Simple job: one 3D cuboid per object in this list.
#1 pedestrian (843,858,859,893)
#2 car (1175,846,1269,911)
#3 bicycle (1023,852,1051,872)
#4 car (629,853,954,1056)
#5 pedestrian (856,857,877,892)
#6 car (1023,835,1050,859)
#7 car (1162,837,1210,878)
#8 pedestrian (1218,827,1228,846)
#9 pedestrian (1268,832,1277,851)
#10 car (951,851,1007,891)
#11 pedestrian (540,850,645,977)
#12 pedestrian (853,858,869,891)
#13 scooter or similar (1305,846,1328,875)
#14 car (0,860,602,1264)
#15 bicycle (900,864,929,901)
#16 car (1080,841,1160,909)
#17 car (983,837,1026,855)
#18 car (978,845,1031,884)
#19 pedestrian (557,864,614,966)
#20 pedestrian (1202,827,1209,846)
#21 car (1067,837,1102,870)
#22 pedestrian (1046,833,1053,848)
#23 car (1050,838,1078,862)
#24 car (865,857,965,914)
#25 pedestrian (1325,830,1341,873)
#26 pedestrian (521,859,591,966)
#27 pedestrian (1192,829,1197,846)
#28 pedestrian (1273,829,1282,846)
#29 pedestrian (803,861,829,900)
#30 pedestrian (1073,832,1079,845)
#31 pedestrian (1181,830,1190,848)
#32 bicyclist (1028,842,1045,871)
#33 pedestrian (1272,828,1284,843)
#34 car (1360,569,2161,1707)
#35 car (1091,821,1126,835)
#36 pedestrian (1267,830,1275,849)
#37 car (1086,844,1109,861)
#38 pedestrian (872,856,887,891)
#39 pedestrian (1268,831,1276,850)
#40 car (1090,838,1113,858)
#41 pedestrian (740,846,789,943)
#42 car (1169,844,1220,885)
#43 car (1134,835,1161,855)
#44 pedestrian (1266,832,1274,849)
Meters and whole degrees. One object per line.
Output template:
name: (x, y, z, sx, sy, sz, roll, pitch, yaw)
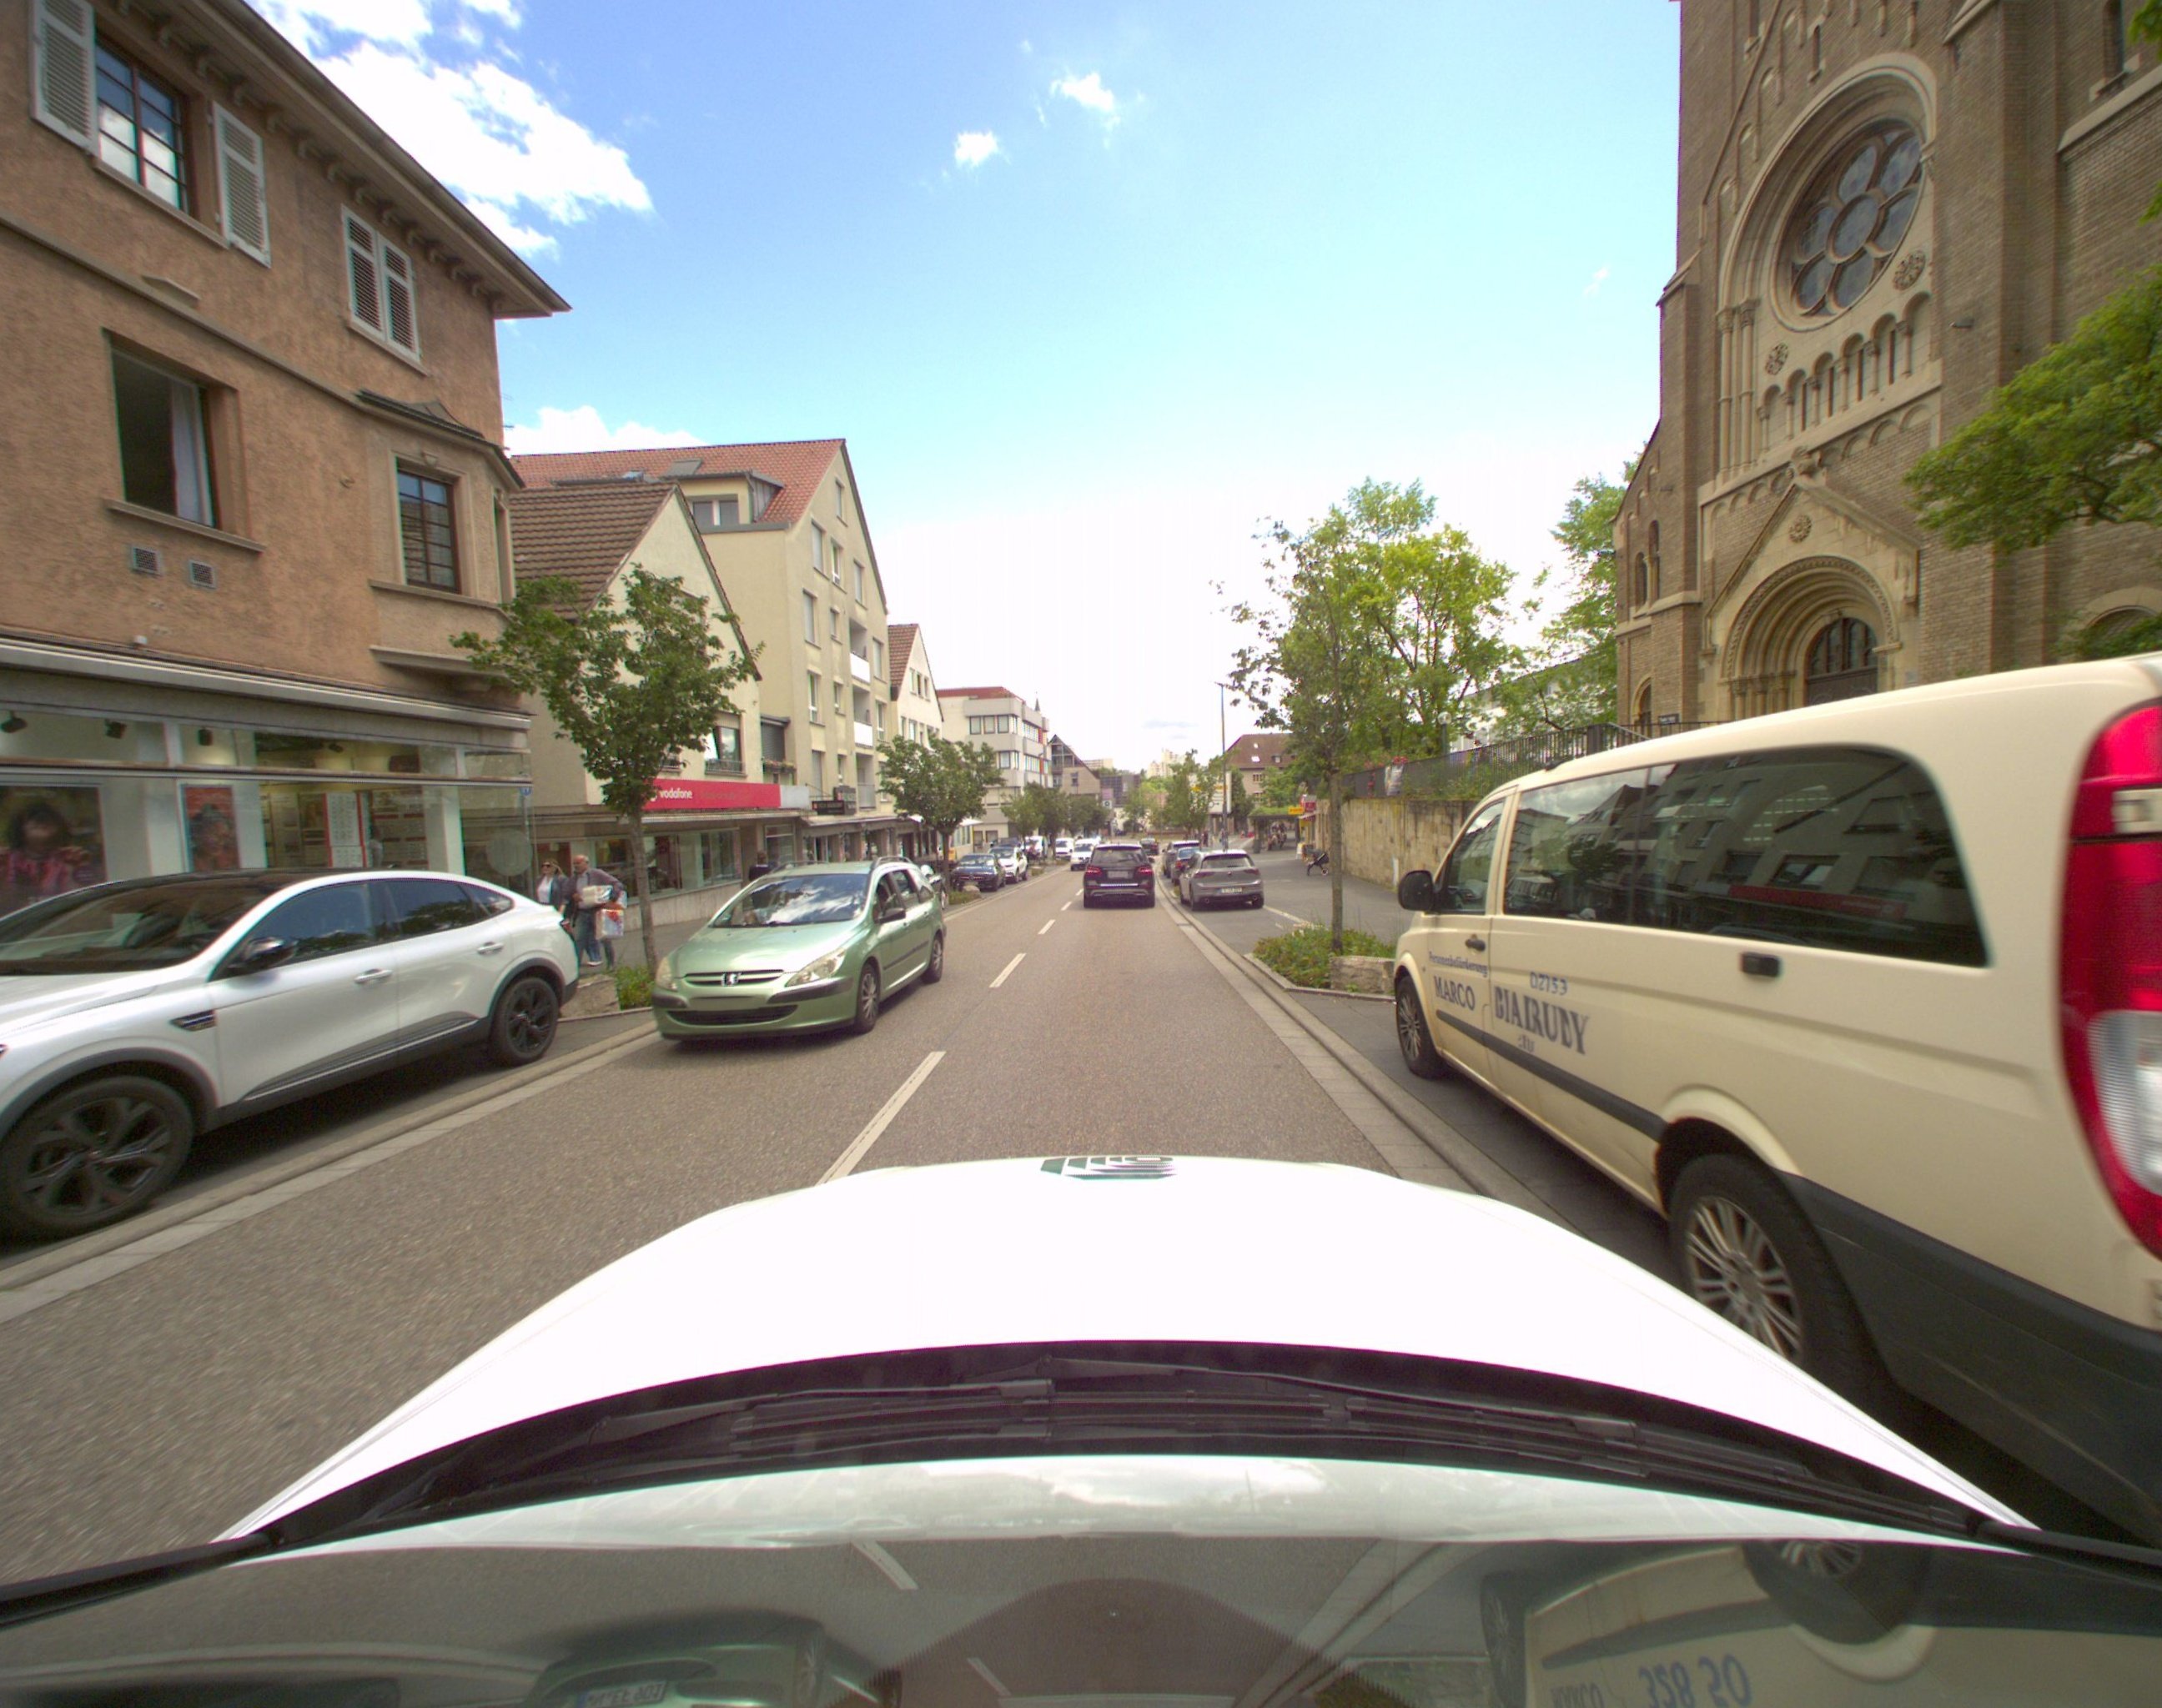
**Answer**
pedestrian: (-8.495, 0.791, 30.123, 0.393, 1.249, 0.500, -1, 1, 3)
car: (3.533, 0.558, 21.071, 1.748, 1.441, 4.090, -3, 0, 1)
bicycle: (-2.641, 0.448, 48.801, 1.660, 1.087, 0.409, -4, 2, -33)
car: (-2.596, 0.791, 8.456, 1.675, 1.500, 4.156, -3, 0, 2)
pedestrian: (-7.902, 0.748, 29.997, 0.547, 1.267, 0.599, -1, 1, 3)
car: (-3.529, -0.606, 65.387, 1.749, 1.813, 4.480, 0, 2, 3)
car: (4.861, 0.096, 38.226, 1.920, 1.724, 4.578, -2, 1, 3)
pedestrian: (12.963, -1.574, 74.277, 0.679, 1.682, 0.718, -2, 2, 19)
pedestrian: (13.833, -0.928, 58.853, 0.612, 1.320, 0.588, -2, 4, 11)
car: (-3.997, 0.617, 32.635, 1.835, 1.451, 4.512, 0, 1, -2)
pedestrian: (-6.778, 0.796, 11.347, 0.867, 1.666, 0.906, -1, 0, 0)
pedestrian: (-8.492, 0.774, 31.475, 0.425, 1.249, 0.567, -1, 1, 3)
scooter or similar: (9.145, 0.249, 31.613, 0.806, 1.072, 0.562, -3, 0, 14)
car: (-5.160, 0.866, 4.989, 1.719, 1.573, 4.455, -1, 0, 1)
bicycle: (-5.505, 0.922, 26.963, 0.482, 1.107, 1.909, -1, 1, 2)
car: (1.045, 0.527, 23.147, 2.020, 1.727, 4.434, -1, 0, 1)
car: (-6.802, -0.725, 72.748, 3.614, 1.558, 1.669, -1, 2, 1)
car: (-3.495, 0.427, 37.862, 1.657, 1.646, 4.140, 0, 1, 5)
pedestrian: (-7.443, 0.898, 12.241, 0.494, 1.477, 0.528, -1, 0, 0)
pedestrian: (11.381, -1.585, 74.428, 0.508, 1.680, 0.578, -3, 2, 8)
car: (0.256, -0.060, 48.489, 1.739, 1.802, 4.217, -4, 1, 4)
pedestrian: (-3.489, -1.520, 89.280, 0.581, 1.566, 0.647, -3, 2, 10)
car: (-1.256, -0.350, 62.277, 1.649, 1.671, 4.357, 0, 2, 4)
car: (-4.627, 0.831, 23.375, 1.650, 1.392, 4.448, -1, 0, 4)
pedestrian: (9.730, -0.106, 31.467, 0.469, 1.645, 0.508, -3, 0, 14)
pedestrian: (-8.063, 0.873, 12.531, 0.611, 1.582, 0.642, -1, 0, 0)
pedestrian: (10.757, -1.544, 77.099, 0.391, 1.565, 0.353, -3, 2, 9)
pedestrian: (15.757, -1.358, 65.182, 0.619, 1.307, 0.548, -3, 2, 12)
pedestrian: (-8.764, 0.862, 26.959, 0.593, 1.246, 0.599, -1, 1, 3)
pedestrian: (-0.605, -1.810, 95.819, 0.583, 1.588, 0.640, 0, 2, 9)
pedestrian: (9.557, -1.378, 74.508, 0.508, 1.549, 0.490, -2, 2, 34)
bicyclist: (-2.652, 0.131, 48.777, 0.781, 1.694, 0.505, -4, 2, -31)
pedestrian: (16.715, -1.601, 69.126, 0.761, 1.269, 0.681, 0, 3, 36)
car: (2.775, 0.446, 3.592, 1.875, 1.847, 5.041, -3, 0, 7)
car: (5.331, -4.966, 157.123, 6.292, 2.560, 2.196, 0, -1, -14)
pedestrian: (14.007, -1.055, 60.078, 0.495, 1.320, 0.527, -2, 4, 12)
car: (1.801, -0.199, 85.674, 1.684, 1.599, 4.345, 1, 2, 10)
pedestrian: (-7.779, 0.753, 31.409, 0.419, 1.299, 0.454, -1, 1, 3)
pedestrian: (13.934, -0.965, 59.498, 0.492, 1.320, 0.577, -2, 4, 11)
car: (1.651, -0.518, 64.259, 1.599, 1.388, 3.634, -3, 2, 4)
pedestrian: (-5.958, 0.748, 15.355, 0.659, 1.761, 0.776, -1, 0, -8)
car: (4.349, 0.389, 31.627, 1.673, 1.417, 4.377, -2, 0, 5)
car: (5.614, -0.781, 68.992, 2.044, 1.587, 4.377, 1, 2, 2)
pedestrian: (14.156, -1.009, 60.923, 0.564, 1.261, 0.543, -2, 4, 12)
